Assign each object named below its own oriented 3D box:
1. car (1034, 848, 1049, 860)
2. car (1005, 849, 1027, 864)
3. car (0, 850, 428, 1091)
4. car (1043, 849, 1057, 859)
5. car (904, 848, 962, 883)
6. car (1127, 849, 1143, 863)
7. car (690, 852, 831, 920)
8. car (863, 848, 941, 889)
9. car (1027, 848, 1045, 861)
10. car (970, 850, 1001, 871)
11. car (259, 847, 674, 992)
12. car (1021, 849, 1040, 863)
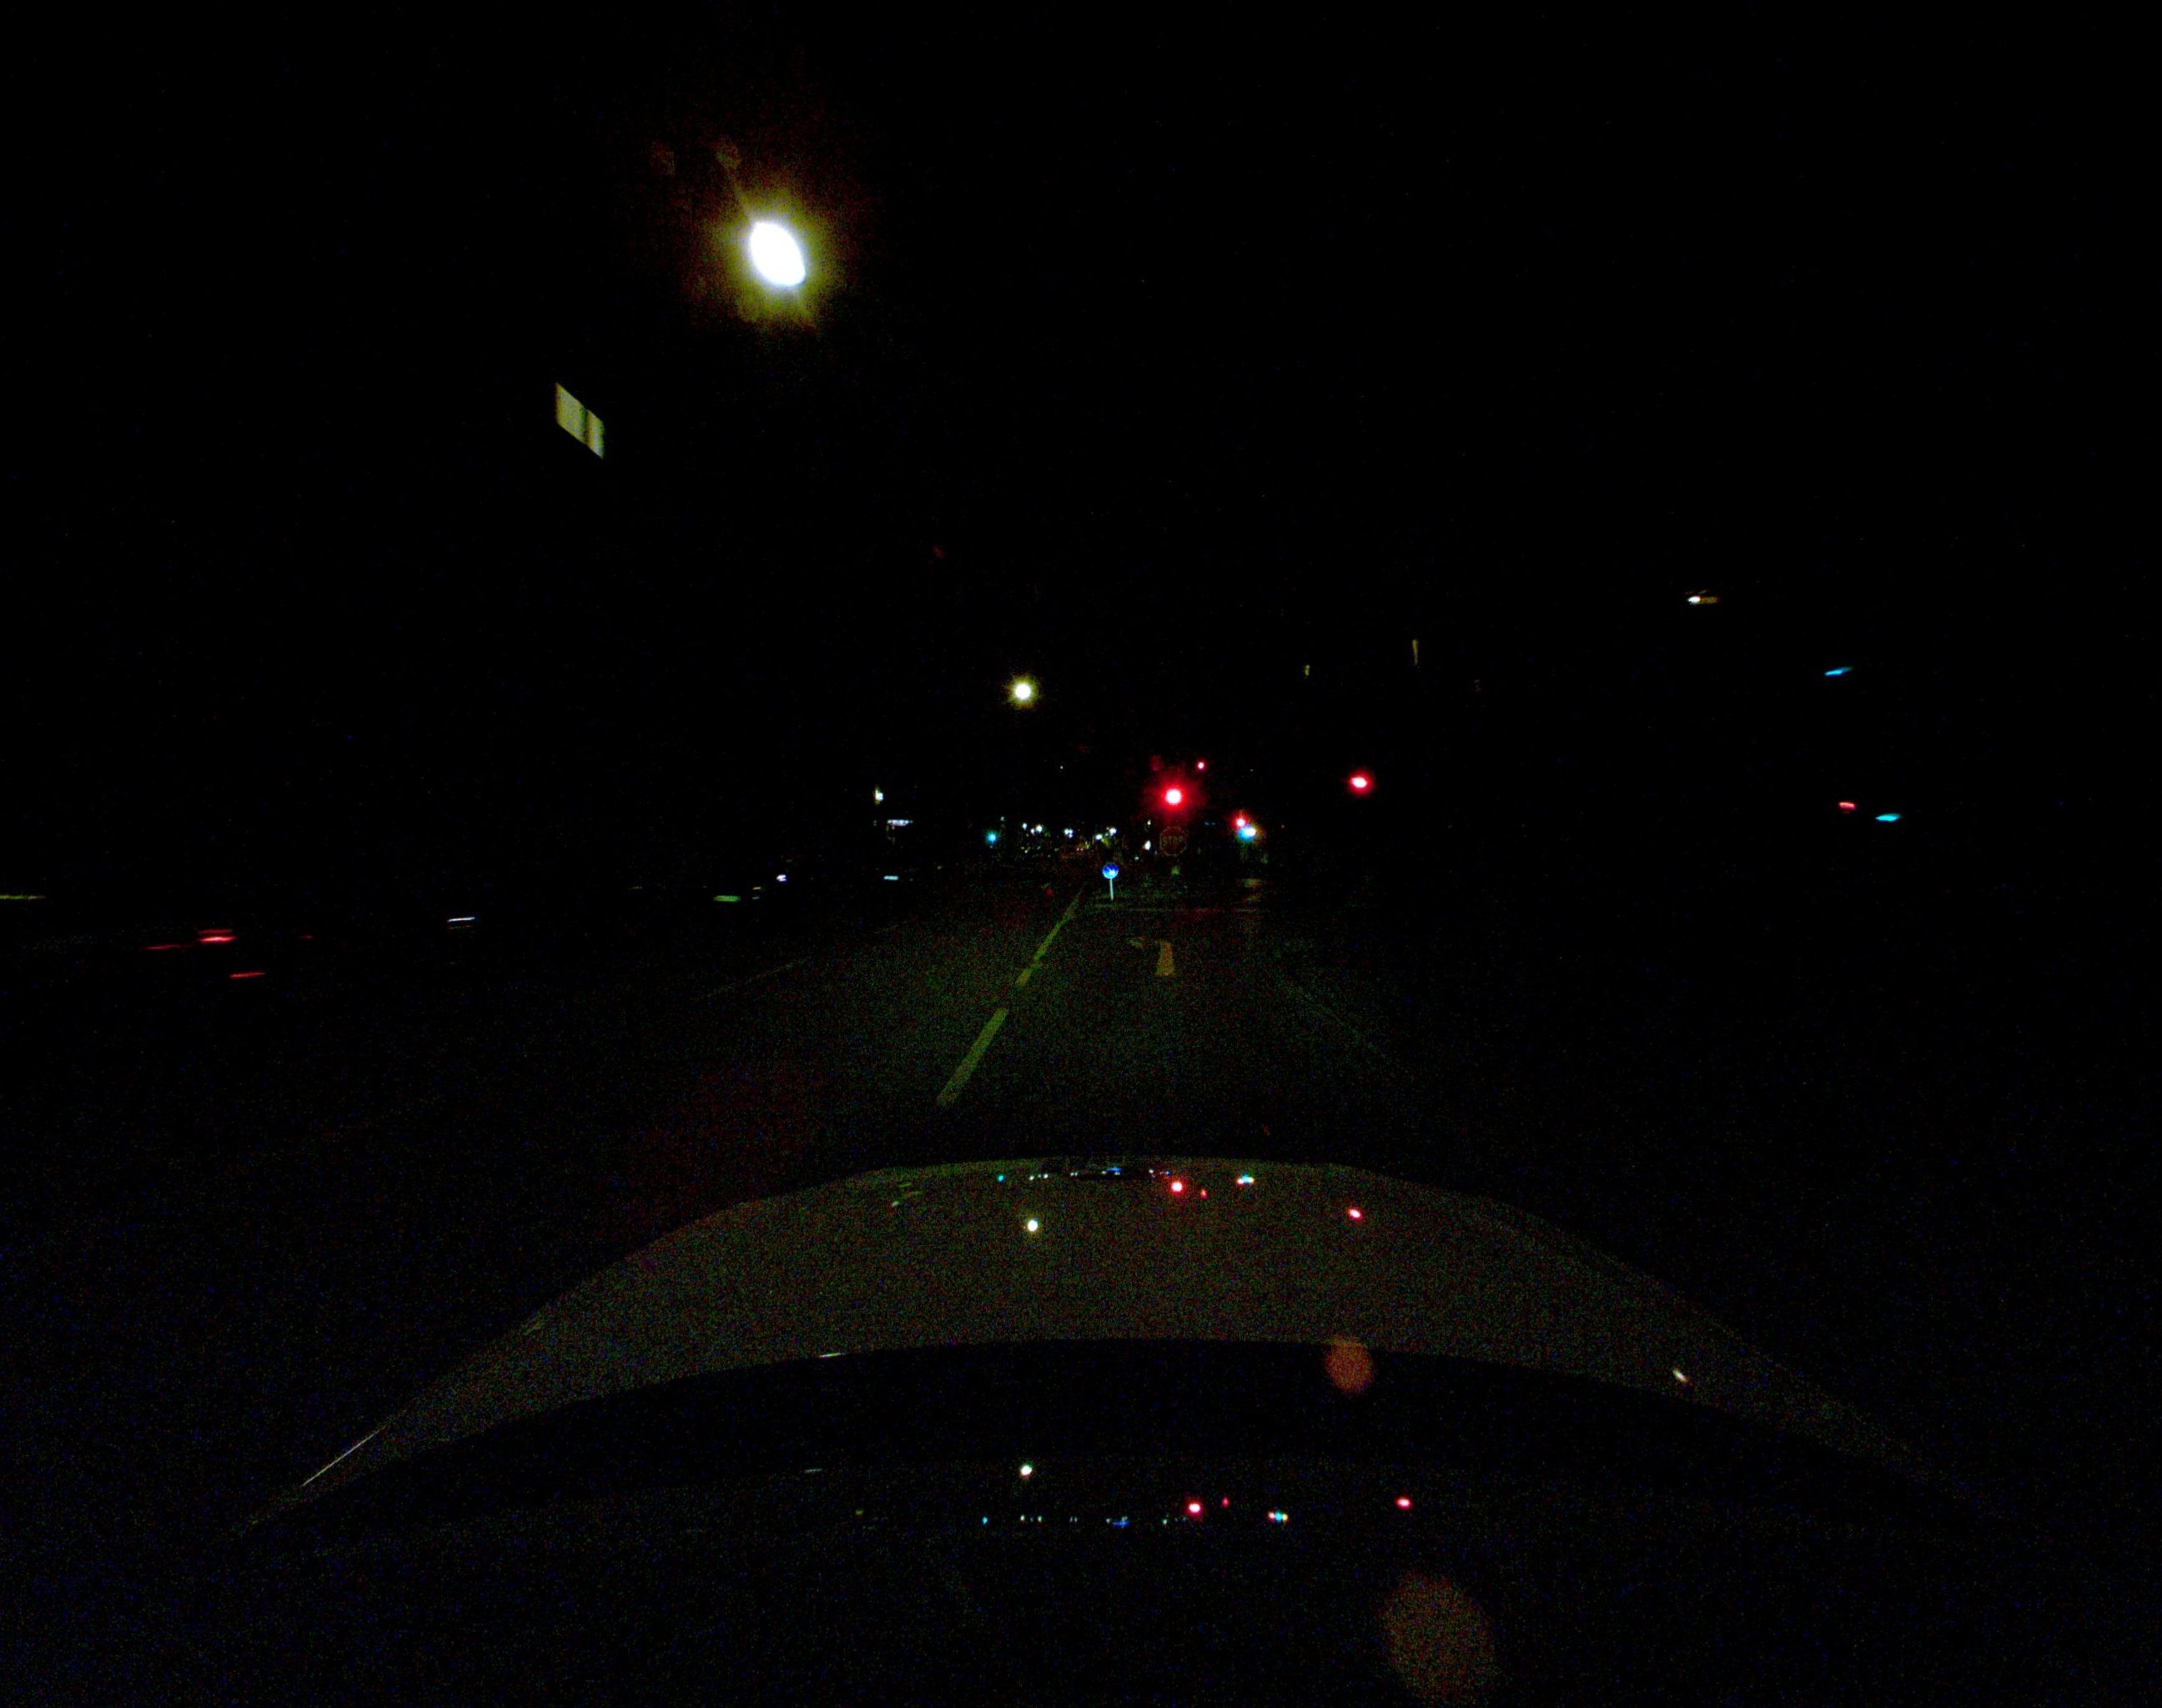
[{"bbox_3d":[-4.878,-0.031,100.913,1.645,1.431,4.002,-1,0,2],"label":"car"},{"bbox_3d":[-6.328,0.231,79.794,1.645,1.431,4.002,-1,0,2],"label":"car"},{"bbox_3d":[-7.550,0.725,5.913,1.762,1.486,4.767,-1,0,0],"label":"car"},{"bbox_3d":[-4.360,0.001,114.647,1.645,1.431,4.002,-1,0,2],"label":"car"},{"bbox_3d":[-6.725,0.491,37.324,1.797,1.481,4.324,0,0,1],"label":"car"},{"bbox_3d":[5.946,0.210,90.152,1.644,1.431,4.003,-1,0,3],"label":"car"},{"bbox_3d":[-7.347,0.659,19.170,1.617,1.382,4.450,-1,0,-1],"label":"car"},{"bbox_3d":[-7.003,0.521,32.332,1.892,1.471,4.454,2,1,2],"label":"car"},{"bbox_3d":[-5.171,0.032,94.028,1.645,1.431,4.002,-1,0,2],"label":"car"},{"bbox_3d":[-6.847,0.452,58.707,1.645,1.431,4.002,-1,0,2],"label":"car"},{"bbox_3d":[-7.550,0.672,10.829,1.762,1.486,4.864,-1,0,1],"label":"car"},{"bbox_3d":[-5.436,0.178,88.018,1.645,1.431,4.002,-1,0,2],"label":"car"}]
